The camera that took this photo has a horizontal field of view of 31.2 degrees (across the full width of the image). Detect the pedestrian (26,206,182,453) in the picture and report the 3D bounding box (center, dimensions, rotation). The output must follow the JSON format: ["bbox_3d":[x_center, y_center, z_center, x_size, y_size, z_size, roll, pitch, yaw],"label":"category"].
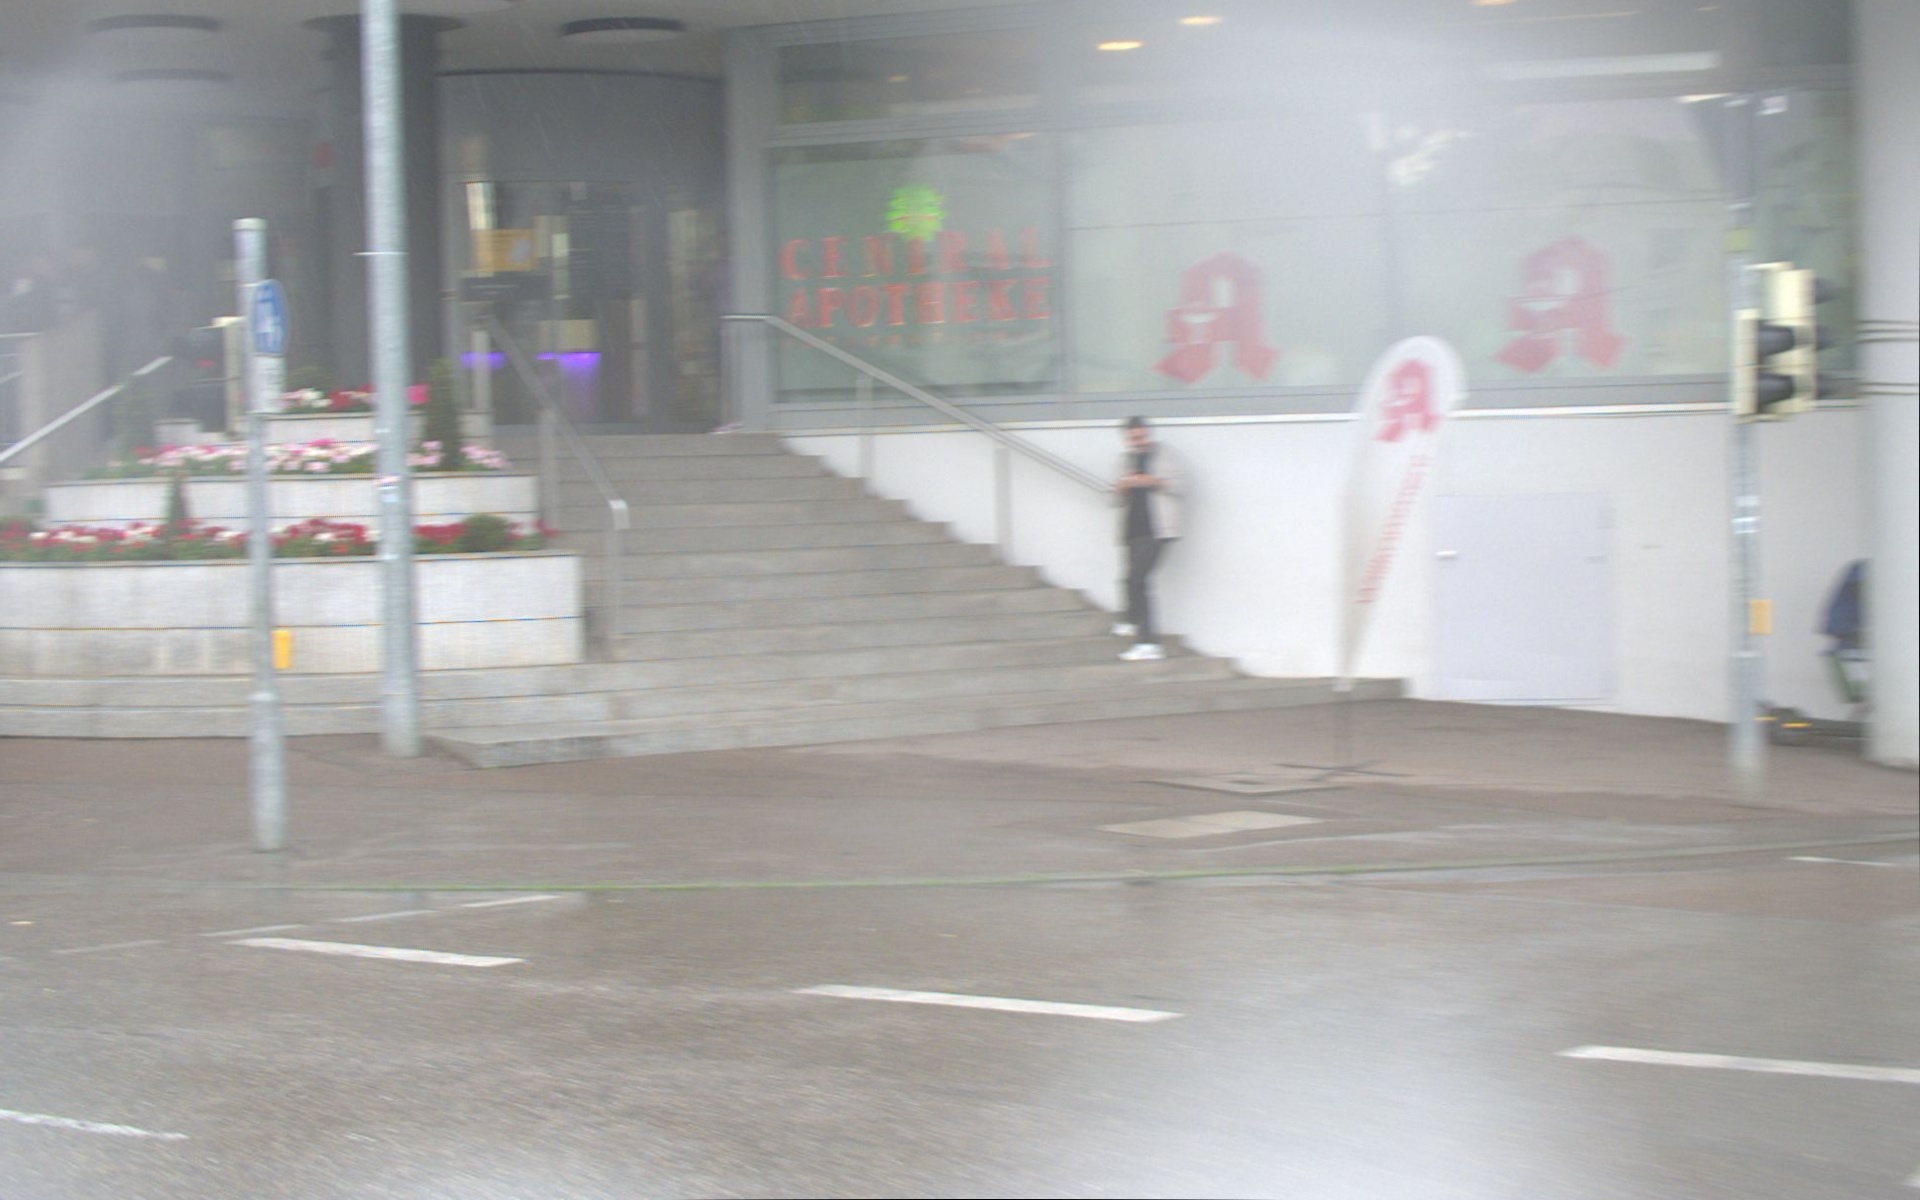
[{"bbox_3d":[-7.133,-2.235,28.661,0.831,2.006,0.950,2,3,37],"label":"pedestrian"}]

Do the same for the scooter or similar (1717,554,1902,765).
[{"bbox_3d":[5.727,0.390,23.183,1.167,1.368,0.489,1,2,16],"label":"scooter or similar"}]

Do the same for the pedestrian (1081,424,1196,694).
[{"bbox_3d":[1.279,-0.305,24.604,0.656,1.901,0.594,1,2,23],"label":"pedestrian"}]
